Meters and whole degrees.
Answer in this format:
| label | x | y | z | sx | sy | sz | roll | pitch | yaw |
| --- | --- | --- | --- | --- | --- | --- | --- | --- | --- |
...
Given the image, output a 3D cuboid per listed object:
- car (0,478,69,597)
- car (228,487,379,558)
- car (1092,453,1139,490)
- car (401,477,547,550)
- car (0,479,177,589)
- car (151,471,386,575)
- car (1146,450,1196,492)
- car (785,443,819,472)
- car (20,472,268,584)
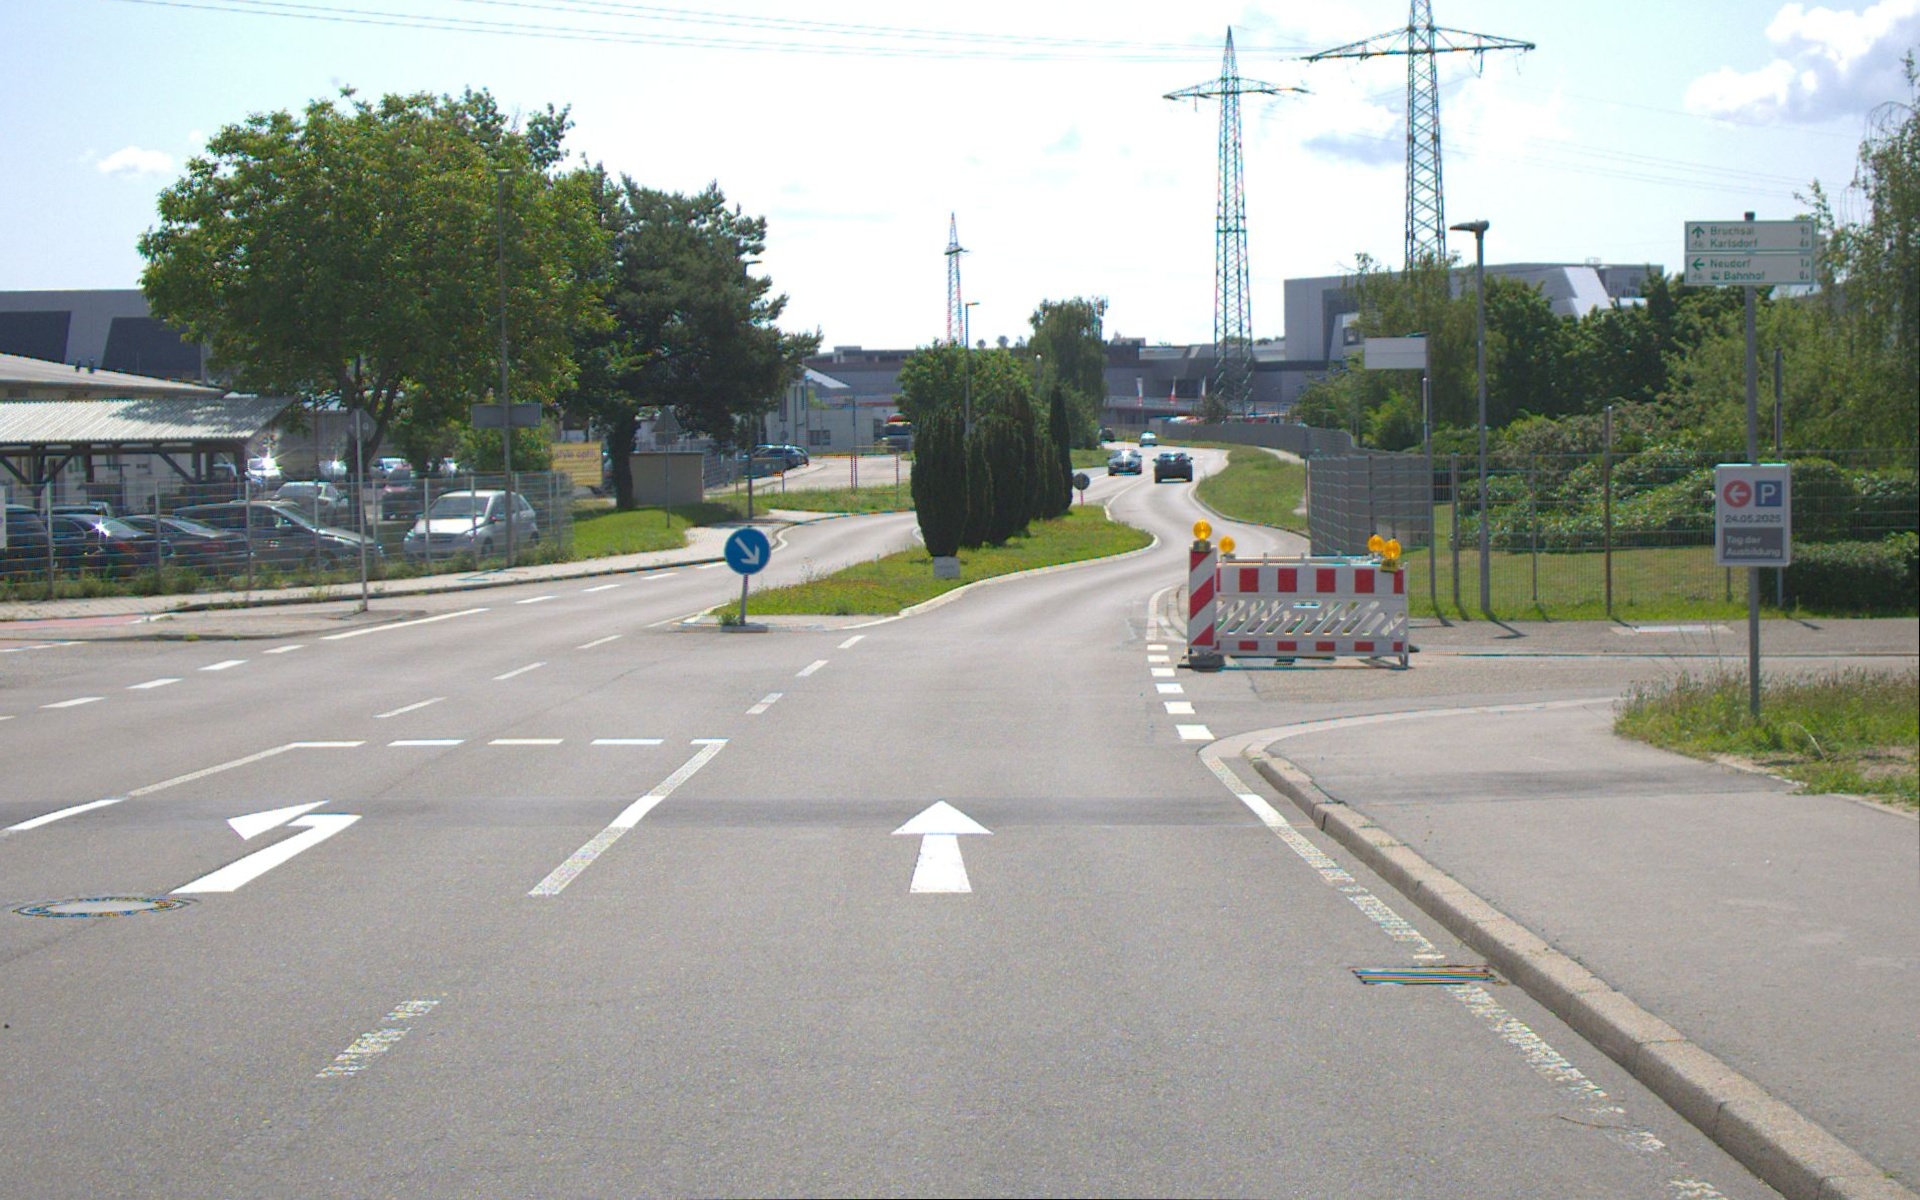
| label | x | y | z | sx | sy | sz | roll | pitch | yaw |
| --- | --- | --- | --- | --- | --- | --- | --- | --- | --- |
| car | -17.094 | -1.079 | 57.553 | 3.994 | 1.897 | 1.997 | 2 | 4 | 32 |
| car | -17.900 | -2.127 | 93.803 | 3.986 | 1.844 | 1.835 | -1 | 2 | -11 |
| car | 8.887 | -7.357 | 196.954 | 2.490 | 2.006 | 4.666 | 0 | 3 | 0 |
| car | -10.365 | -1.864 | 73.541 | 1.830 | 1.512 | 3.586 | 0 | 2 | 14 |
| car | -15.822 | -1.173 | 59.878 | 3.994 | 1.774 | 1.997 | 2 | 4 | 32 |
| car | -13.349 | -1.518 | 66.427 | 3.991 | 1.897 | 1.998 | 1 | 3 | 21 |
| car | 10.394 | -6.361 | 169.604 | 2.272 | 1.940 | 4.665 | 3 | 1 | 2 |
| car | -11.200 | -10.147 | 244.287 | 1.994 | 2.006 | 4.000 | -1 | 2 | 3 |
| car | -14.716 | -1.320 | 61.987 | 3.993 | 1.897 | 1.997 | 2 | 4 | 27 |
